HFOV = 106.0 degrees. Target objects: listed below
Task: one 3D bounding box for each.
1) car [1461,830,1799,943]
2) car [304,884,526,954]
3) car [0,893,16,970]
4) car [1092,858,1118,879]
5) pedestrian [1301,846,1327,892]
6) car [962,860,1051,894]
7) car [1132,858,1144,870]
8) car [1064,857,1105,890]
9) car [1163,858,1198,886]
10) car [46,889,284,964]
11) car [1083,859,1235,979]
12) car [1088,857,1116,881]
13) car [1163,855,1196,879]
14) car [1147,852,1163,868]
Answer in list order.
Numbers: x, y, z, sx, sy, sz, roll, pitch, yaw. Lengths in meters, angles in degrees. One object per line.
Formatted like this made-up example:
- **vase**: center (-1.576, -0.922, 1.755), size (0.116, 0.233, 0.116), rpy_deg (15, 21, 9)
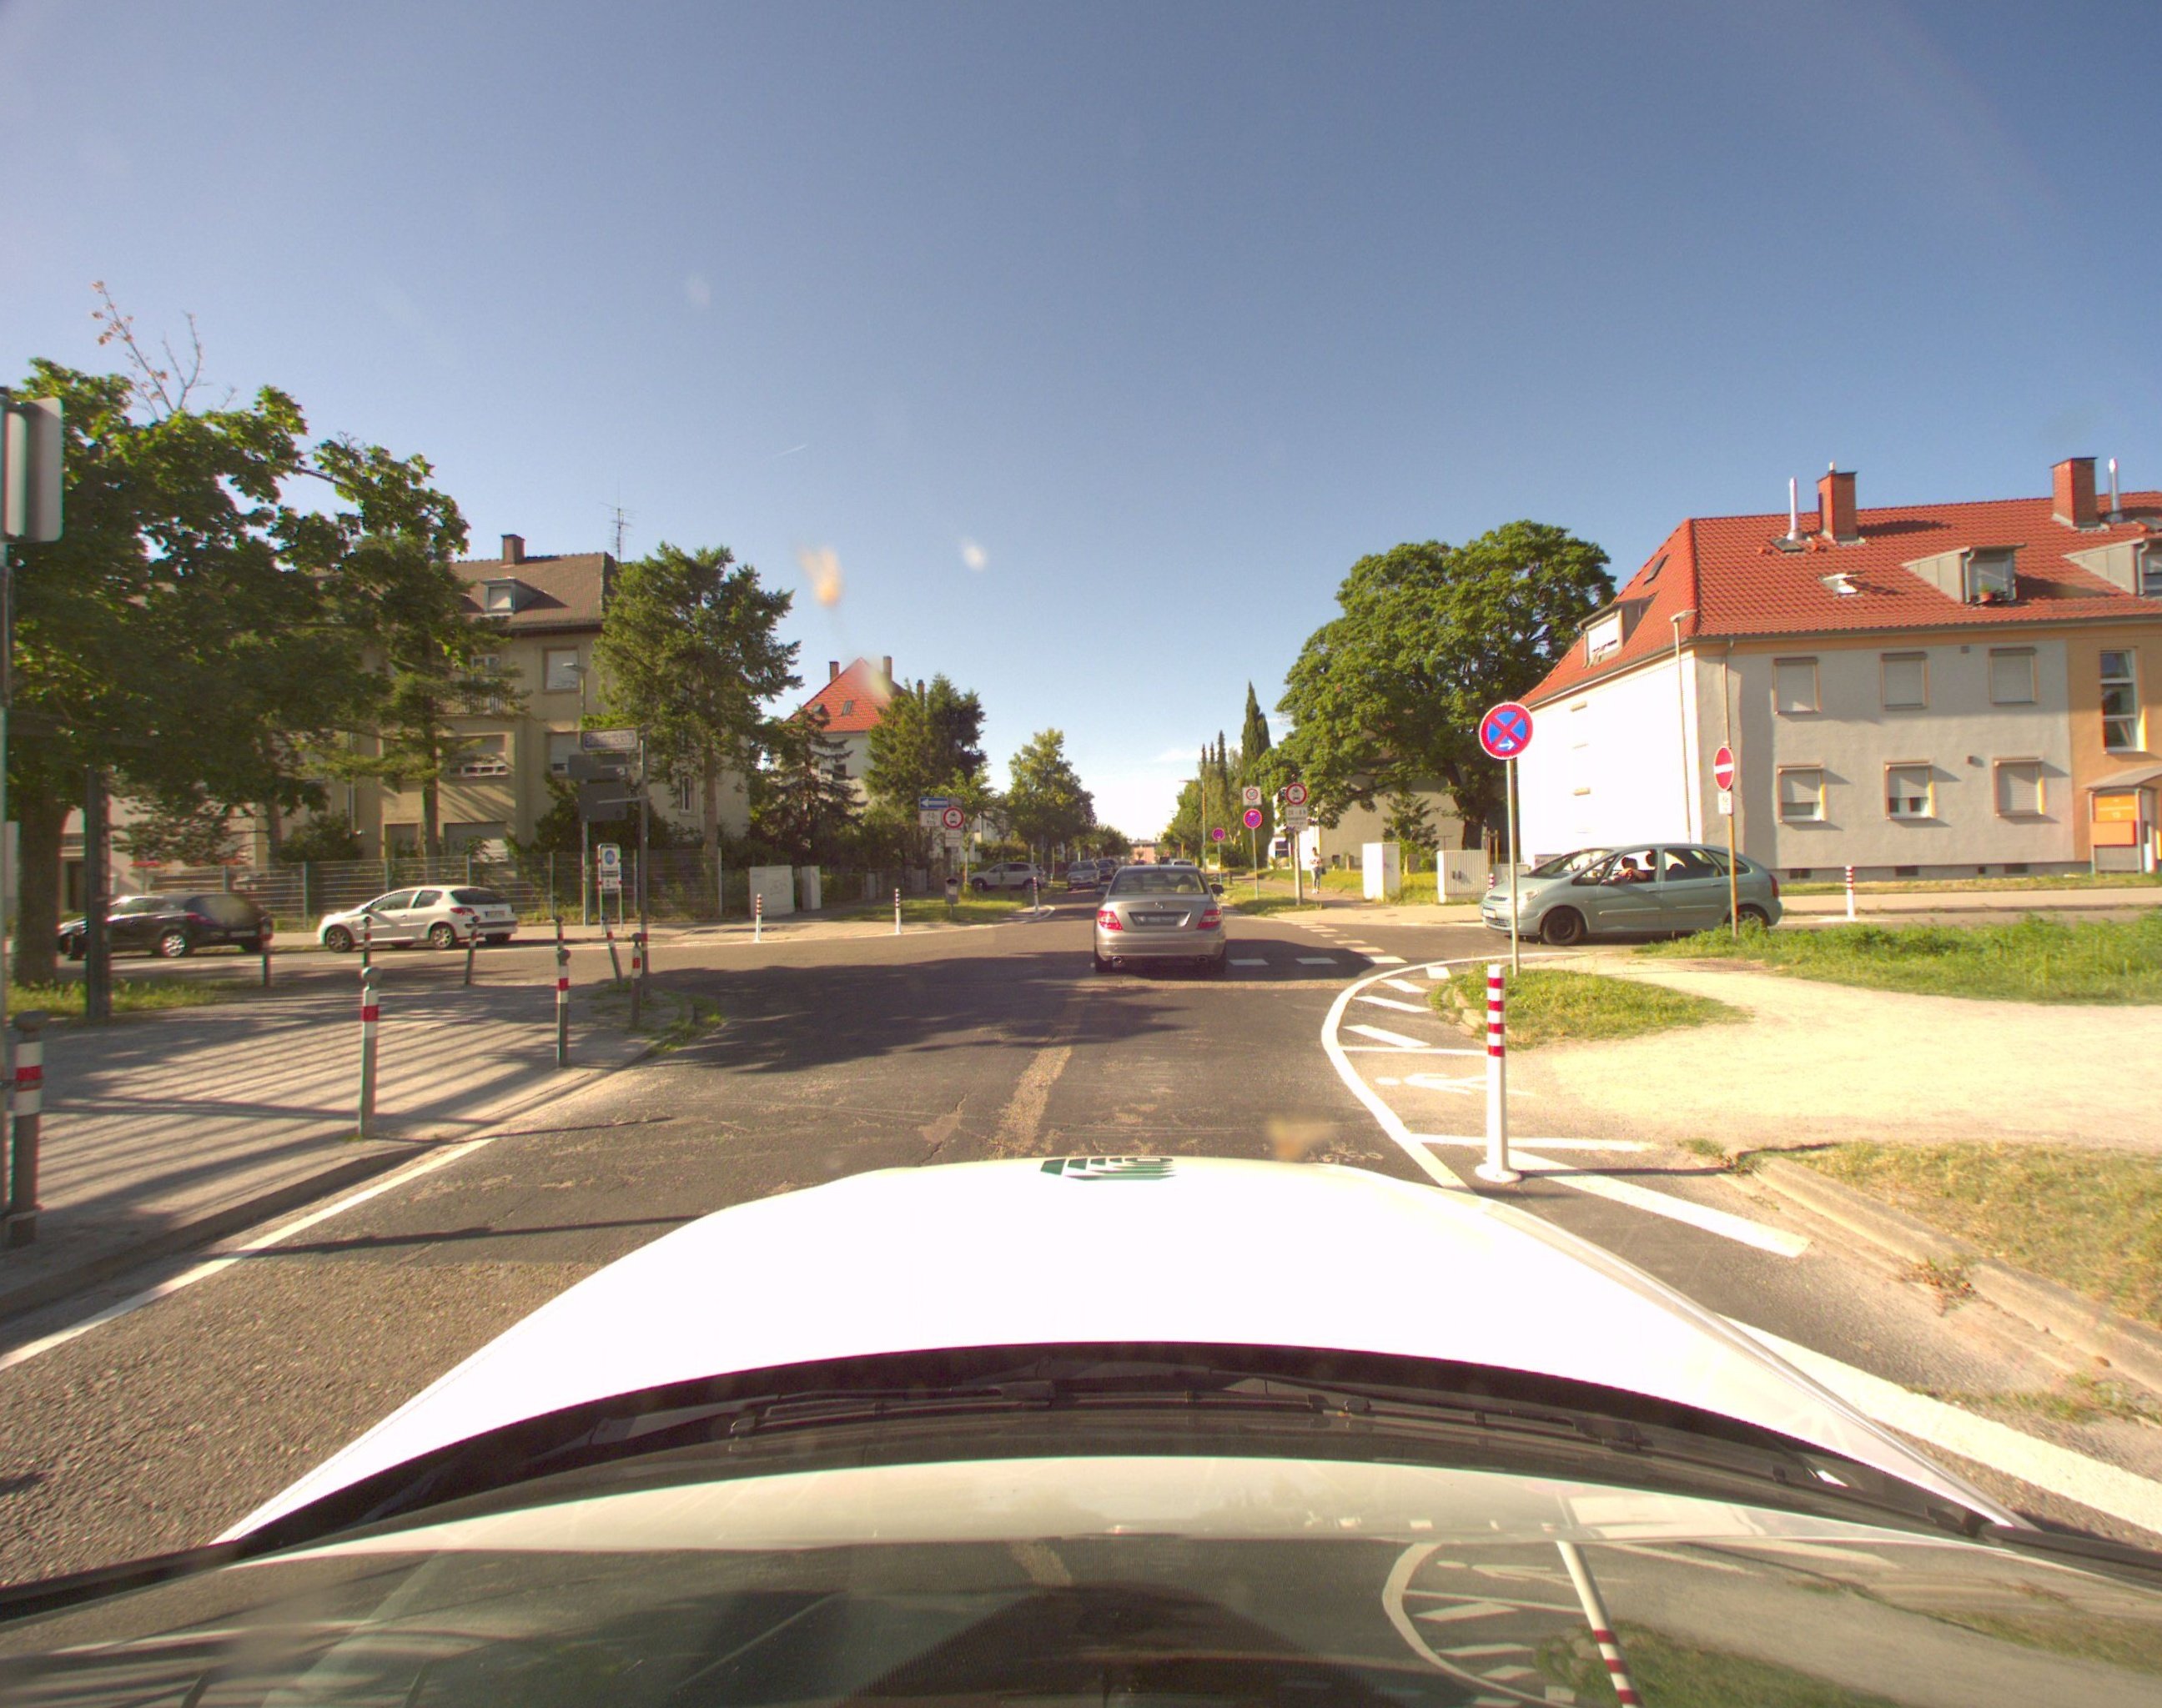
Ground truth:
- **car**: center (8.831, 0.509, 13.439), size (4.213, 1.608, 1.891), rpy_deg (-2, 0, 5)
- **car**: center (-15.175, 1.457, 18.671), size (3.747, 1.398, 1.708), rpy_deg (-2, -2, 4)
- **car**: center (-23.762, 1.617, 15.376), size (4.722, 1.524, 2.001), rpy_deg (-2, 0, 2)
- **car**: center (2.057, 1.205, 68.768), size (1.986, 1.609, 4.003), rpy_deg (-5, 0, 2)
- **pedestrian**: center (8.384, 0.540, 29.319), size (0.761, 1.611, 0.836), rpy_deg (-2, -1, 9)
- **car**: center (-3.641, 1.134, 40.294), size (4.177, 1.564, 1.842), rpy_deg (-1, -1, 1)
- **car**: center (8.378, 1.407, 119.043), size (1.591, 1.610, 3.646), rpy_deg (-2, 0, 2)
- **car**: center (0.236, 1.044, 45.207), size (1.986, 1.609, 4.003), rpy_deg (-5, 0, 2)
- **car**: center (5.724, 1.007, 47.162), size (1.726, 1.480, 3.727), rpy_deg (-2, 0, 2)
- **car**: center (-21.116, 1.644, 18.860), size (3.796, 1.495, 1.679), rpy_deg (-2, -2, 4)
- **car**: center (1.145, 0.811, 11.932), size (1.827, 1.441, 4.006), rpy_deg (-1, 0, 6)
- **car**: center (1.649, 1.150, 62.983), size (1.986, 1.609, 4.003), rpy_deg (-5, 0, 2)
- **car**: center (6.945, 0.884, 57.846), size (1.985, 1.610, 4.003), rpy_deg (-2, 0, 2)
- **car**: center (9.337, 0.753, 102.706), size (1.846, 1.841, 4.004), rpy_deg (-2, 0, 4)
